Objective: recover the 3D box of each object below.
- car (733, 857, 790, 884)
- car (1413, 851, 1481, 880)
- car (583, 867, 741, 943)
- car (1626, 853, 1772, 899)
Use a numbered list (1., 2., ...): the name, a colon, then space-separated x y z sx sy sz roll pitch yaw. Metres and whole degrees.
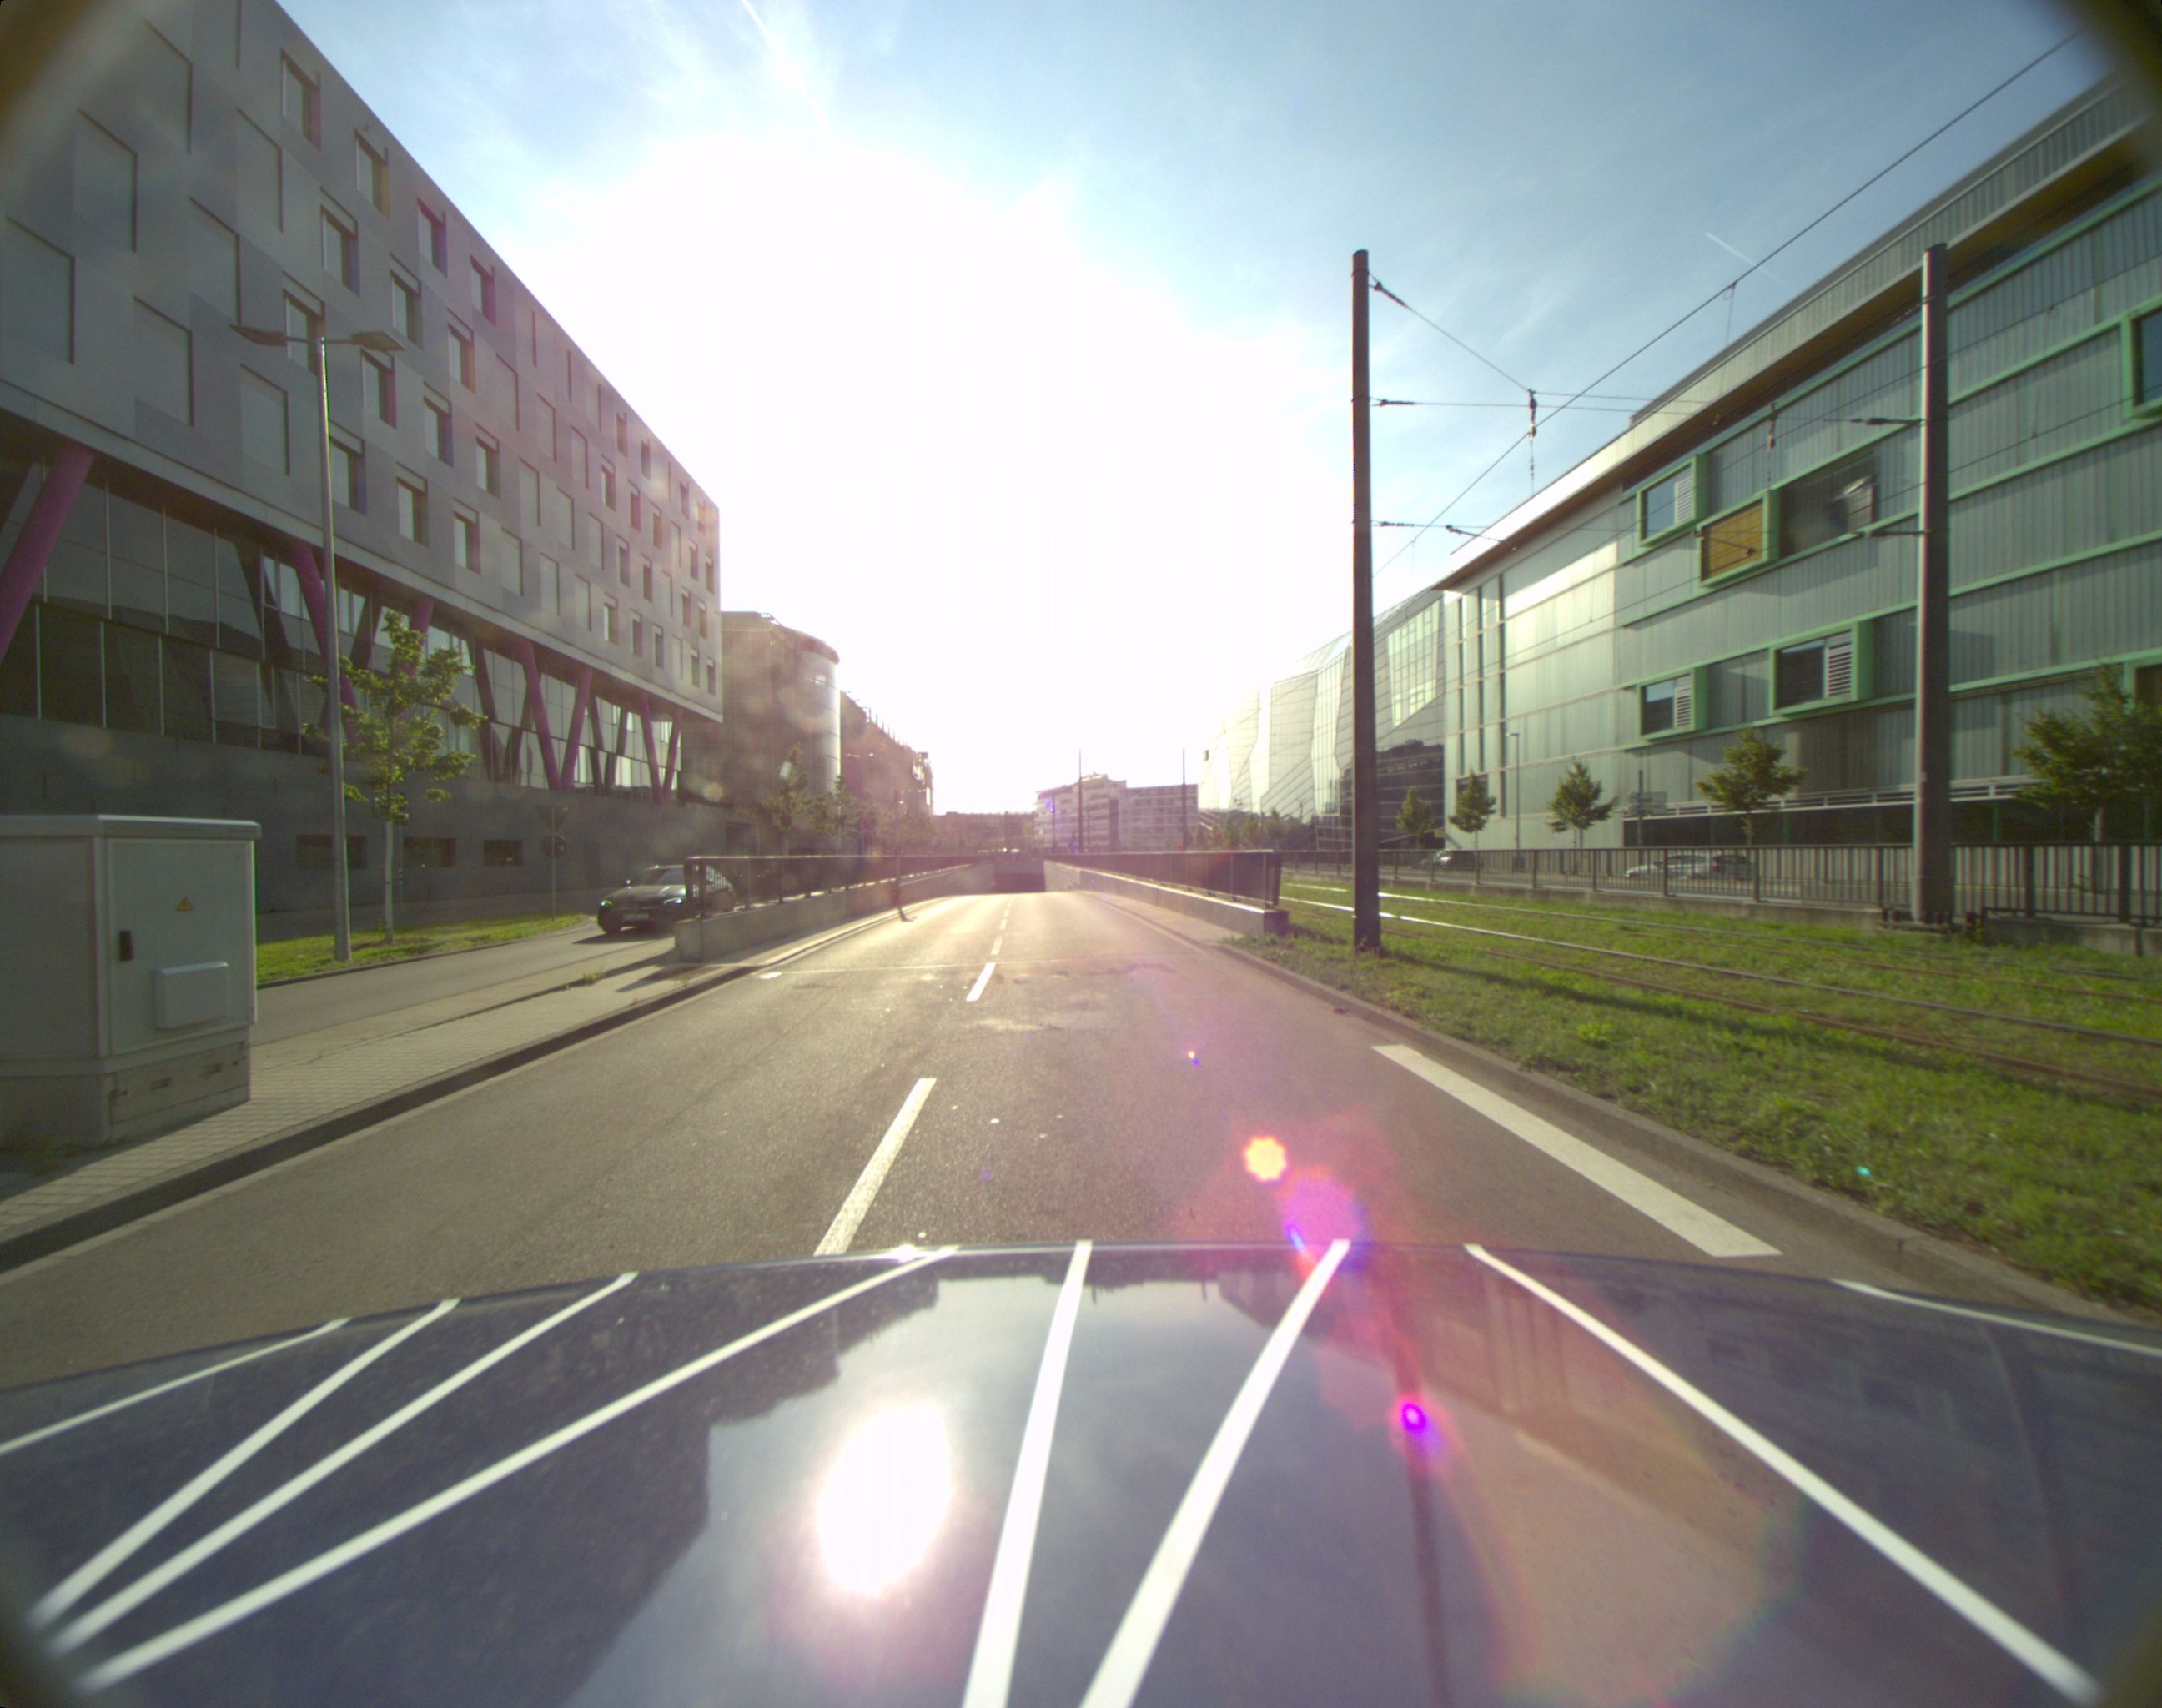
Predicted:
1. car: -19.396 0.980 46.348 1.895 1.418 4.469 -2 2 -6
2. car: 21.308 0.659 44.395 1.775 1.597 4.026 -1 0 -4
3. car: -9.738 1.086 18.102 1.845 1.441 4.552 -2 0 -10
4. car: 21.855 0.729 27.095 1.775 1.478 4.026 -1 0 -4
